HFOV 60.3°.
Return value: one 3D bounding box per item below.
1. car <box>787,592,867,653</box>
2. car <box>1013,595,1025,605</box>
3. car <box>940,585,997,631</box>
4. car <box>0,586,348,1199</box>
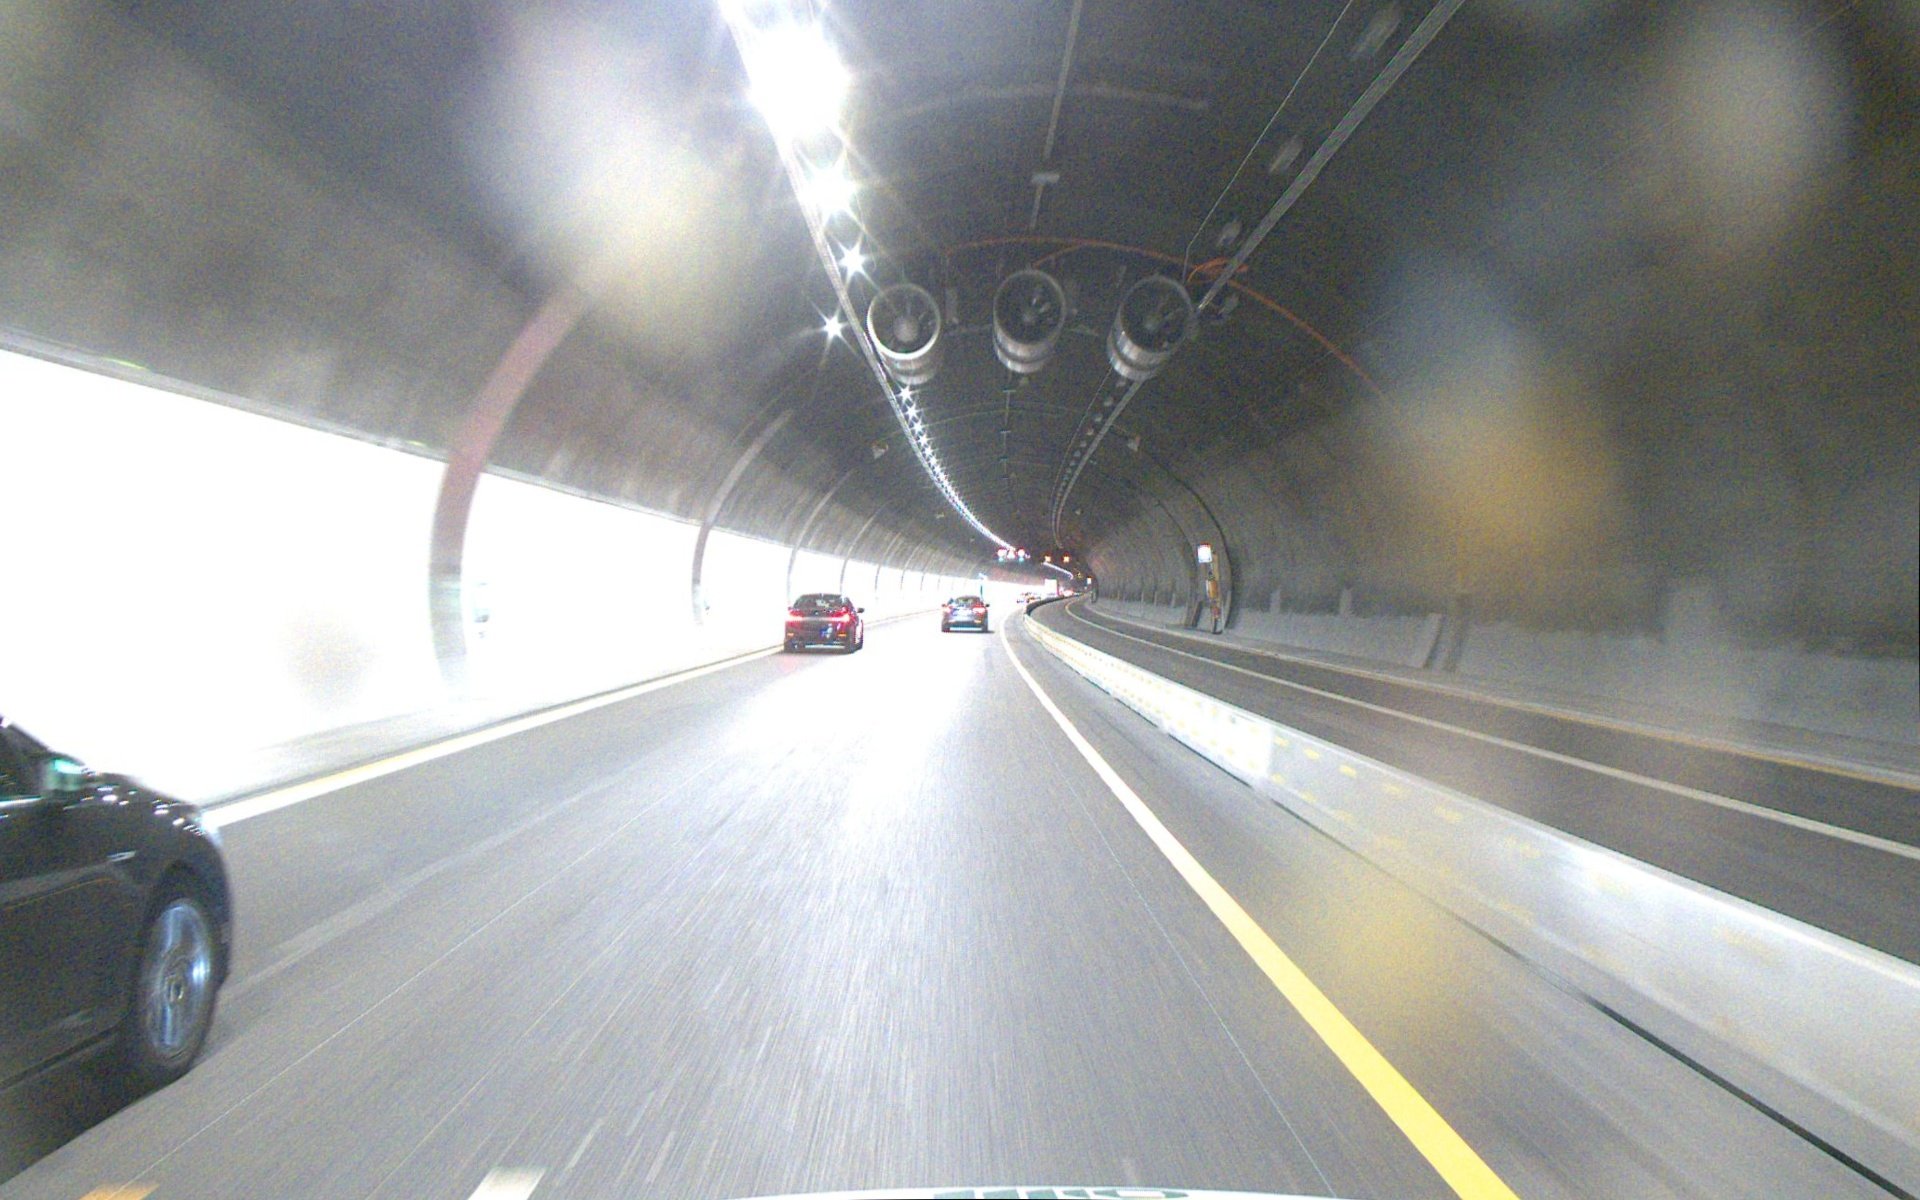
[{"bbox_3d":[-3.386,0.532,42.921,1.742,1.463,4.882,1,0,-1],"label":"car"},{"bbox_3d":[7.905,0.004,222.005,1.562,1.356,3.751,1,0,2],"label":"car"},{"bbox_3d":[0.370,0.296,66.035,2.096,1.735,4.001,1,0,3],"label":"car"},{"bbox_3d":[-3.157,0.697,3.694,1.741,1.463,4.883,1,0,0],"label":"car"}]
